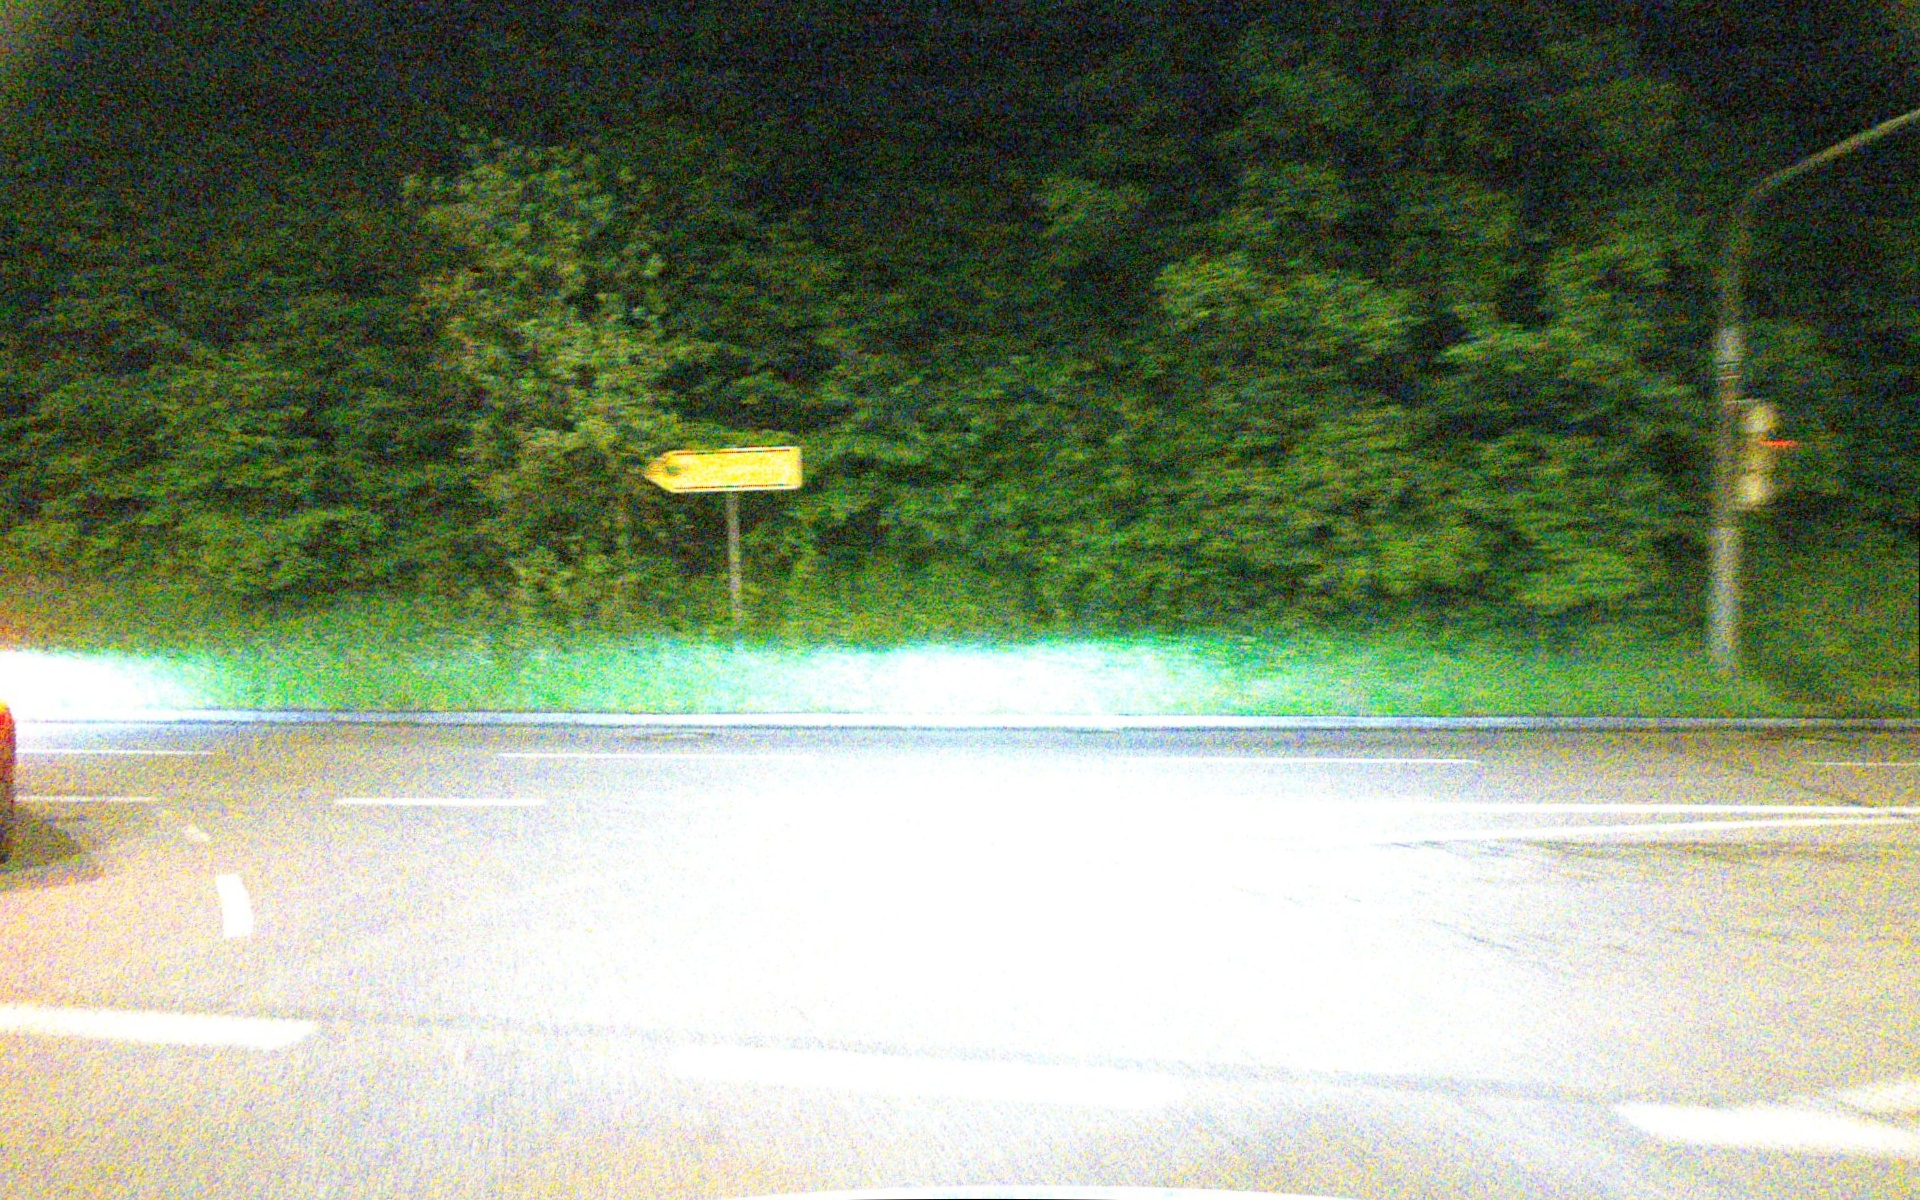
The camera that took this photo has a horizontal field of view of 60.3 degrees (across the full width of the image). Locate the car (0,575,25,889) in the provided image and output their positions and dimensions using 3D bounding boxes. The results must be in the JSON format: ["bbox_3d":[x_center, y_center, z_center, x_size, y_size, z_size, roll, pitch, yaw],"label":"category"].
[{"bbox_3d":[-6.617,0.671,9.742,1.833,1.610,3.964,0,0,-31],"label":"car"}]
